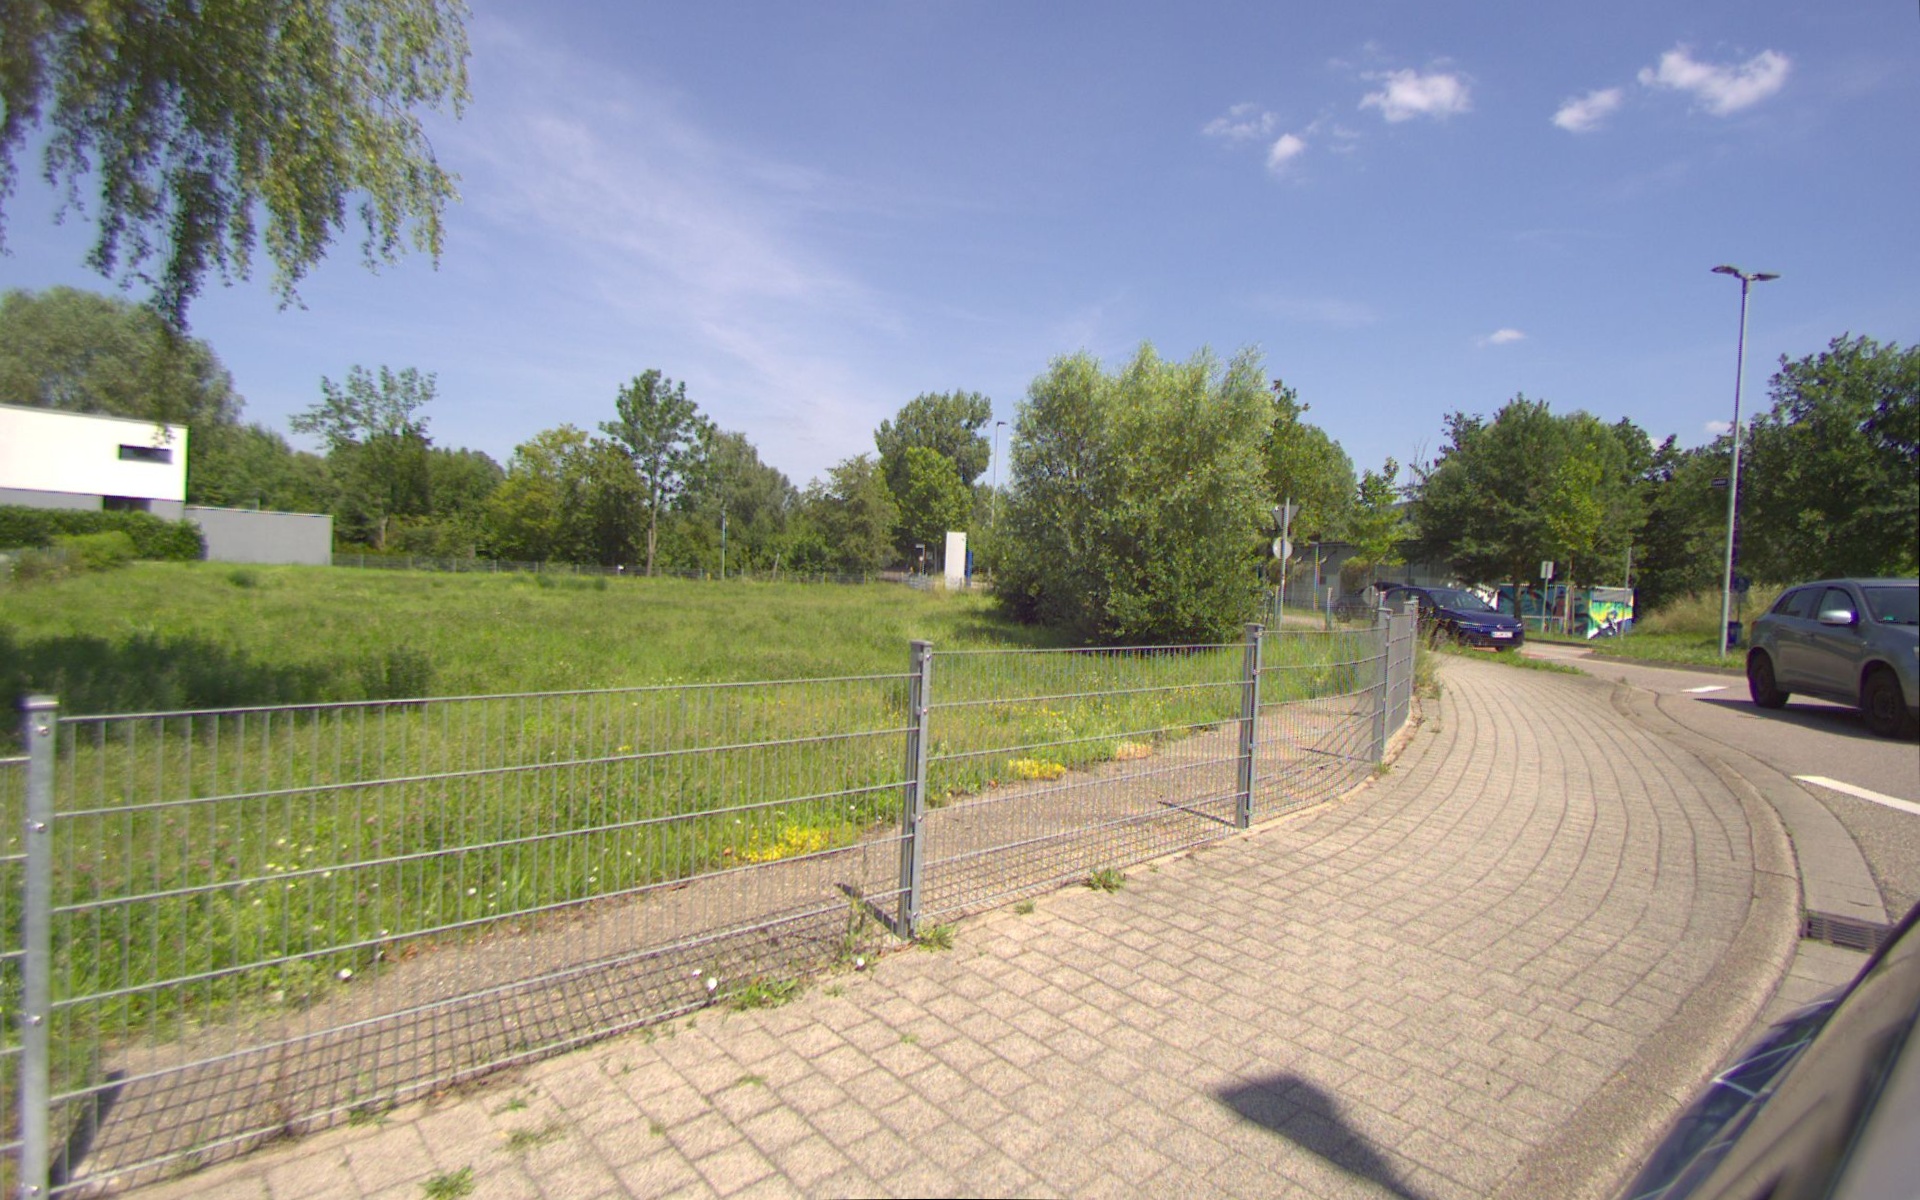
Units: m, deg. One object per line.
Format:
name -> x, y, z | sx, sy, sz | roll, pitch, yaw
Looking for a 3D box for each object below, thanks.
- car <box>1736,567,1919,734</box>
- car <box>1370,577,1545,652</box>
car -> 10.400, 0.469, 10.970 | 1.729, 1.552, 4.497 | 3, 2, 19
car -> 11.851, 0.279, 24.444 | 1.758, 1.558, 4.138 | 2, 1, -7
